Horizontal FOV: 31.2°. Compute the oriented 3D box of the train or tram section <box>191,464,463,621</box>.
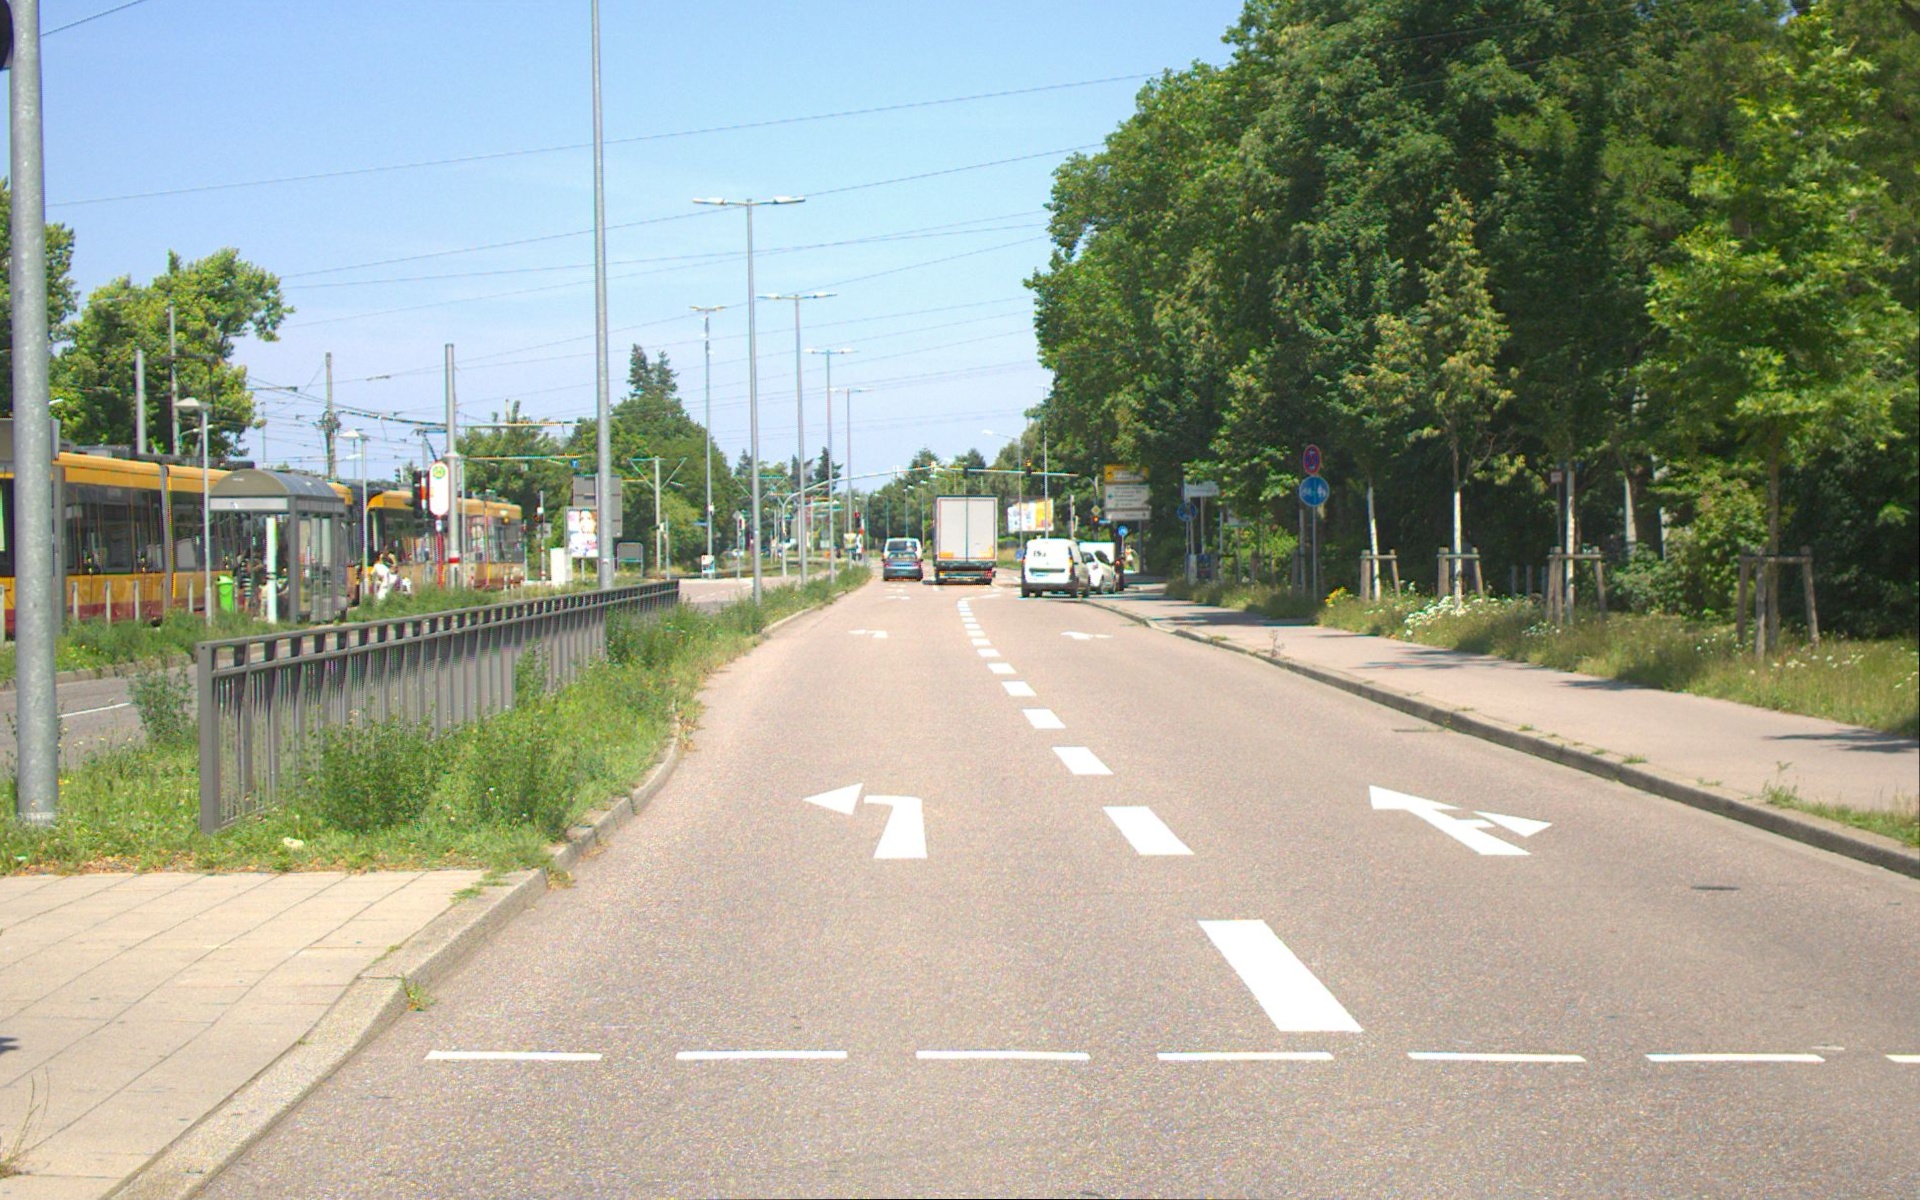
[{"bbox_3d":[-17.639,-1.679,99.384,2.931,3.776,33.091,0,1,-2],"label":"train or tram section"}]

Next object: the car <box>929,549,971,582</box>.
[{"bbox_3d":[-0.451,-1.557,153.615,1.811,1.459,4.000,0,1,-1],"label":"car"}]

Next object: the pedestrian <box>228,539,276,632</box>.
[{"bbox_3d":[-14.267,-0.304,69.299,0.785,1.862,0.817,0,1,-1],"label":"pedestrian"}]

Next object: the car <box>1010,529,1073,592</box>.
[{"bbox_3d":[2.496,-1.223,105.513,1.779,1.897,4.000,0,1,-1],"label":"car"}]

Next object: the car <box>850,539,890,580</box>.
[{"bbox_3d":[-4.573,-2.075,175.163,1.993,2.007,4.000,0,1,-1],"label":"car"}]

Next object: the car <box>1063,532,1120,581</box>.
[{"bbox_3d":[4.533,-1.515,118.787,1.779,1.663,4.000,0,1,-1],"label":"car"}]

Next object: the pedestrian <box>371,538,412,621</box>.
[{"bbox_3d":[-13.828,-0.510,83.651,0.815,2.007,0.938,0,1,-1],"label":"pedestrian"}]

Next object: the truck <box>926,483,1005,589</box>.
[{"bbox_3d":[0.196,-2.719,146.050,3.205,4.344,6.561,0,1,-1],"label":"truck"}]

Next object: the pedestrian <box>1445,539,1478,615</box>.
[{"bbox_3d":[9.562,-0.441,65.565,0.604,1.433,0.556,0,1,6],"label":"pedestrian"}]

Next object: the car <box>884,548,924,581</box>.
[{"bbox_3d":[-2.575,-1.651,157.882,1.811,1.459,4.000,0,1,-1],"label":"car"}]

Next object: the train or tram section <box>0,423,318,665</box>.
[{"bbox_3d":[-16.606,-1.114,67.947,2.957,3.736,30.035,0,1,-1],"label":"train or tram section"}]

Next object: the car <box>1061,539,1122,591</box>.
[{"bbox_3d":[4.285,-1.150,112.361,1.779,1.663,4.000,0,1,-1],"label":"car"}]
